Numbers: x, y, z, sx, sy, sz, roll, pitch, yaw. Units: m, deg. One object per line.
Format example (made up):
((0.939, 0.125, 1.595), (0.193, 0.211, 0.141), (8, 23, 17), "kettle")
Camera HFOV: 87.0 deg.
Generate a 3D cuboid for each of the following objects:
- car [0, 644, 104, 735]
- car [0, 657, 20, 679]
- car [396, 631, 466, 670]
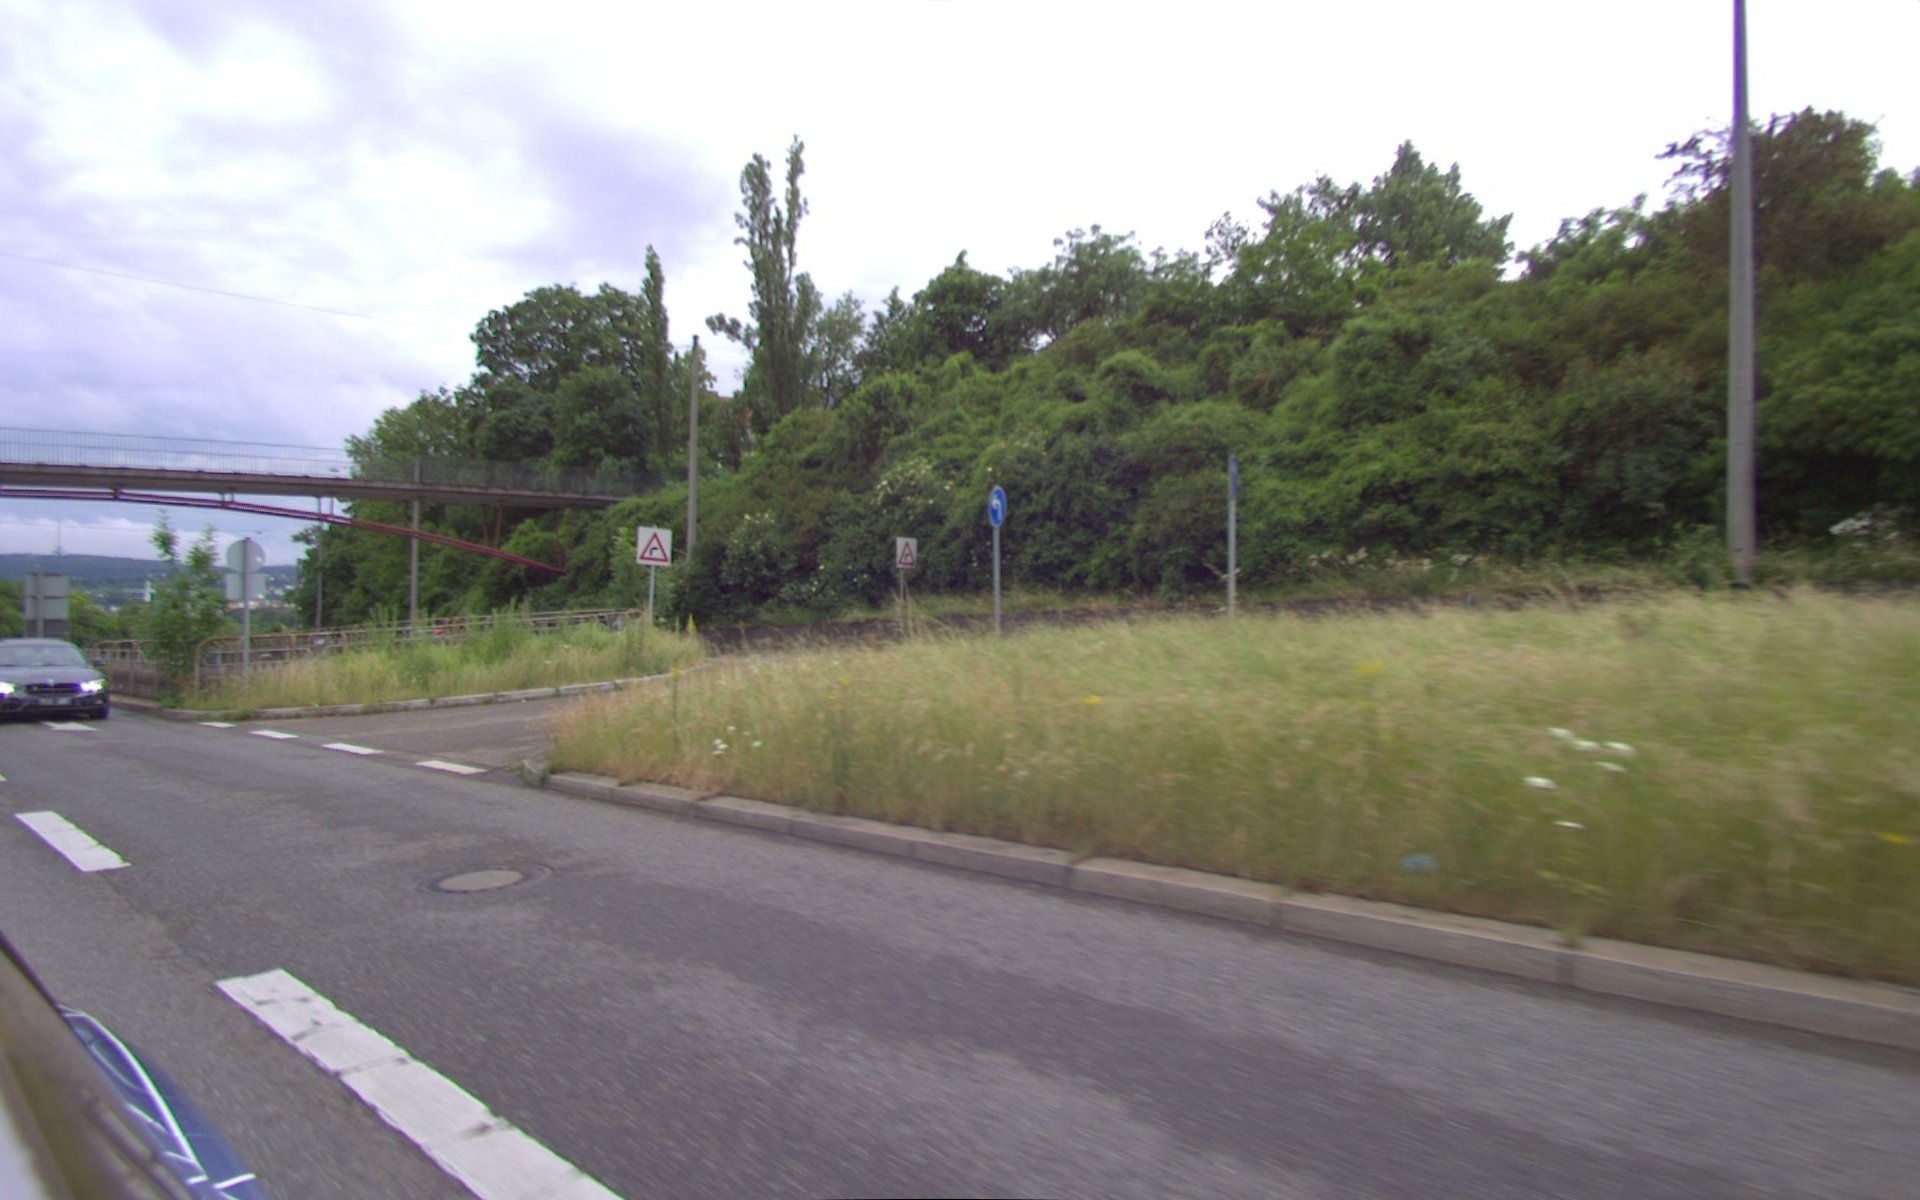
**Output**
((-16.886, 1.562, 18.287), (3.887, 1.482, 1.706), (-3, -3, 43), "car")
((-71.449, 5.055, 75.398), (1.782, 1.521, 4.007), (0, -2, -38), "car")
((-26.411, 2.505, 50.466), (1.970, 1.849, 4.635), (1, -3, -43), "car")
